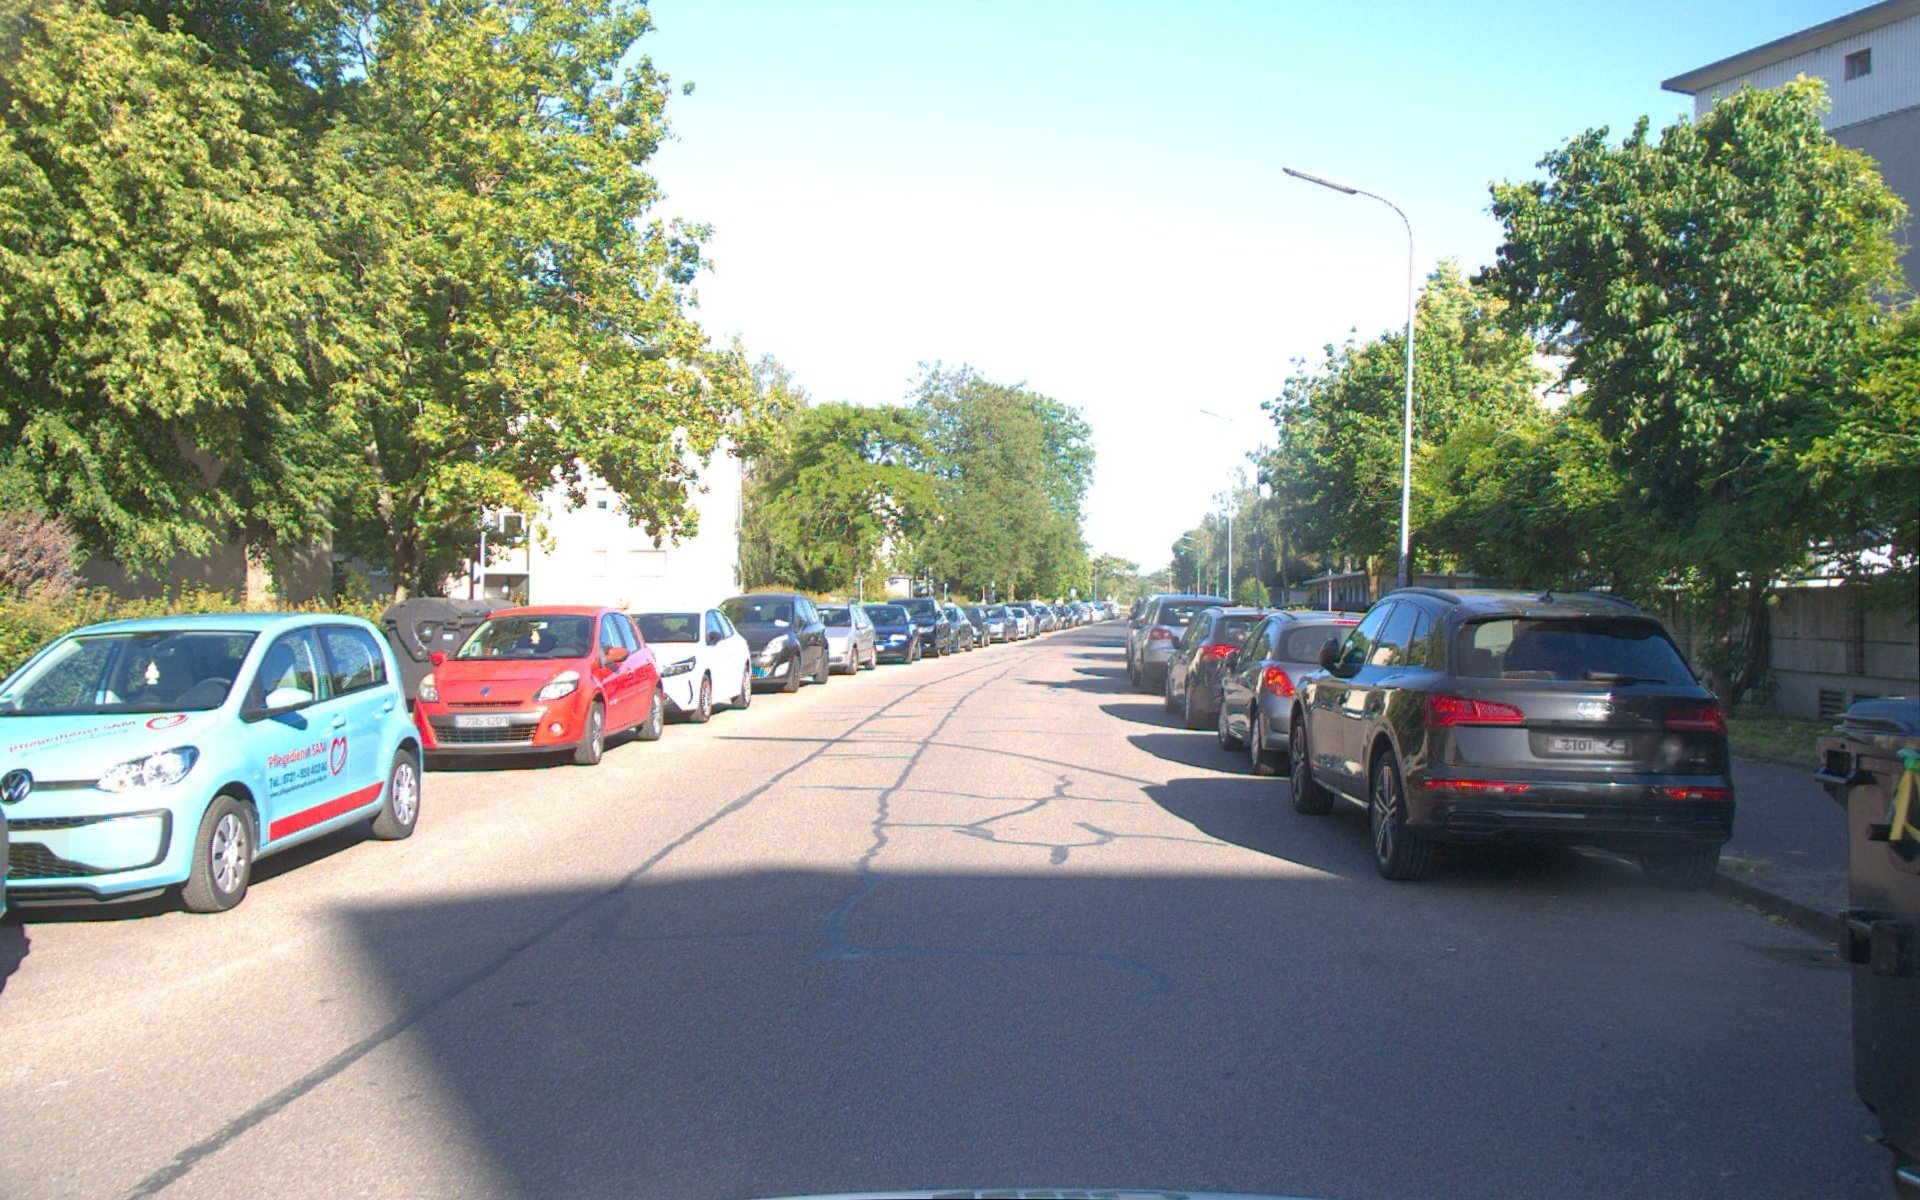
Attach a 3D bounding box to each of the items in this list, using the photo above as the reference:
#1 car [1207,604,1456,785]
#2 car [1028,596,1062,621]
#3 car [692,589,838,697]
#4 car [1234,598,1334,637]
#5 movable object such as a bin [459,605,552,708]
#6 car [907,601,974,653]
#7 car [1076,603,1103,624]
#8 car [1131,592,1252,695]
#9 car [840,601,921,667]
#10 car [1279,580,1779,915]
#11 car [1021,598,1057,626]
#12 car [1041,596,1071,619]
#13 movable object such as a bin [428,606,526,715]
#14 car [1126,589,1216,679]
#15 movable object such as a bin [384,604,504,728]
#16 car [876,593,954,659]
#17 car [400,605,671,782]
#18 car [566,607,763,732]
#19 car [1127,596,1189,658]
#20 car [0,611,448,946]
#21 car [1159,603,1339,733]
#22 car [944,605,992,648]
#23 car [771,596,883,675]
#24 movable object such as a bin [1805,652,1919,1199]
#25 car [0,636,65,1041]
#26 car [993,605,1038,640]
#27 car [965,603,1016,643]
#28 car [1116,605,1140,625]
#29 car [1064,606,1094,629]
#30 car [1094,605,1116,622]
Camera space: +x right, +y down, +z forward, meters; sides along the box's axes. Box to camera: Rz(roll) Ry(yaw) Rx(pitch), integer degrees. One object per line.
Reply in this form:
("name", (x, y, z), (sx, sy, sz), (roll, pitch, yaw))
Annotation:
("car", (3.525, 0.830, 16.346), (1.649, 1.513, 3.825), (2, 0, 1))
("car", (4.854, 0.479, 94.375), (1.477, 1.352, 3.470), (-2, 0, 10))
("car", (-3.301, 0.679, 28.804), (1.635, 1.696, 4.409), (-2, 0, 5))
("car", (14.061, 0.744, 71.946), (4.129, 1.621, 1.832), (1, 0, 8))
("movable object such as a bin", (-6.700, 0.813, 24.456), (0.967, 1.443, 1.315), (0, 1, 2))
("car", (-0.580, 0.817, 51.586), (1.625, 1.464, 3.762), (-2, 0, 6))
("car", (10.246, 1.050, 130.431), (1.785, 1.491, 4.238), (1, 2, 9))
("car", (3.962, 0.692, 28.863), (1.693, 1.647, 4.235), (1, 0, 3))
("car", (-1.917, 0.797, 40.714), (1.626, 1.451, 4.050), (-2, 0, 2))
("car", (3.379, 0.751, 10.801), (1.772, 1.693, 4.463), (1, 0, 1))
("car", (4.239, 0.610, 88.458), (1.477, 1.405, 3.470), (-2, 0, 10))
("car", (6.023, 0.443, 103.236), (1.477, 1.352, 3.470), (-2, 0, 10))
("movable object such as a bin", (-6.721, 0.826, 23.087), (0.968, 1.443, 1.314), (0, 1, 0))
("car", (4.333, 0.655, 34.424), (1.618, 1.728, 4.236), (1, 0, 4))
("movable object such as a bin", (-6.645, 0.828, 21.379), (1.088, 1.524, 1.408), (0, 1, 0))
("car", (-1.208, 0.686, 46.318), (1.625, 1.718, 4.052), (-2, 0, 6))
("car", (-4.103, 0.840, 16.552), (1.636, 1.500, 3.679), (-2, 0, 2))
("car", (-3.809, 0.845, 21.948), (1.635, 1.446, 3.903), (-1, 0, 4))
("car", (5.657, 0.726, 47.288), (1.661, 1.670, 4.236), (1, 0, 7))
("car", (-4.398, 0.851, 9.516), (1.636, 1.500, 3.679), (-2, 0, 2))
("car", (3.672, 0.808, 21.693), (1.647, 1.482, 4.292), (2, 0, 1))
("car", (0.295, 0.940, 59.355), (1.359, 1.438, 3.127), (-2, 0, 6))
("car", (-2.753, 0.703, 35.012), (1.625, 1.512, 4.055), (-2, 0, 6))
("movable object such as a bin", (2.876, 0.853, 3.934), (1.202, 1.421, 1.171), (0, 0, 7))
("car", (-4.315, 0.897, 4.437), (1.636, 1.462, 4.000), (-2, 0, 0))
("car", (2.452, 0.960, 72.313), (1.477, 1.388, 3.470), (-2, 0, 10))
("car", (1.259, 0.918, 66.283), (1.477, 1.476, 3.694), (-2, 0, 10))
("car", (13.286, 1.168, 130.872), (1.785, 1.348, 4.237), (1, 1, 6))
("car", (8.644, 1.290, 120.179), (1.785, 1.491, 4.238), (1, 2, 9))
("car", (14.164, 1.290, 161.372), (1.785, 1.491, 4.238), (1, 2, 9))
